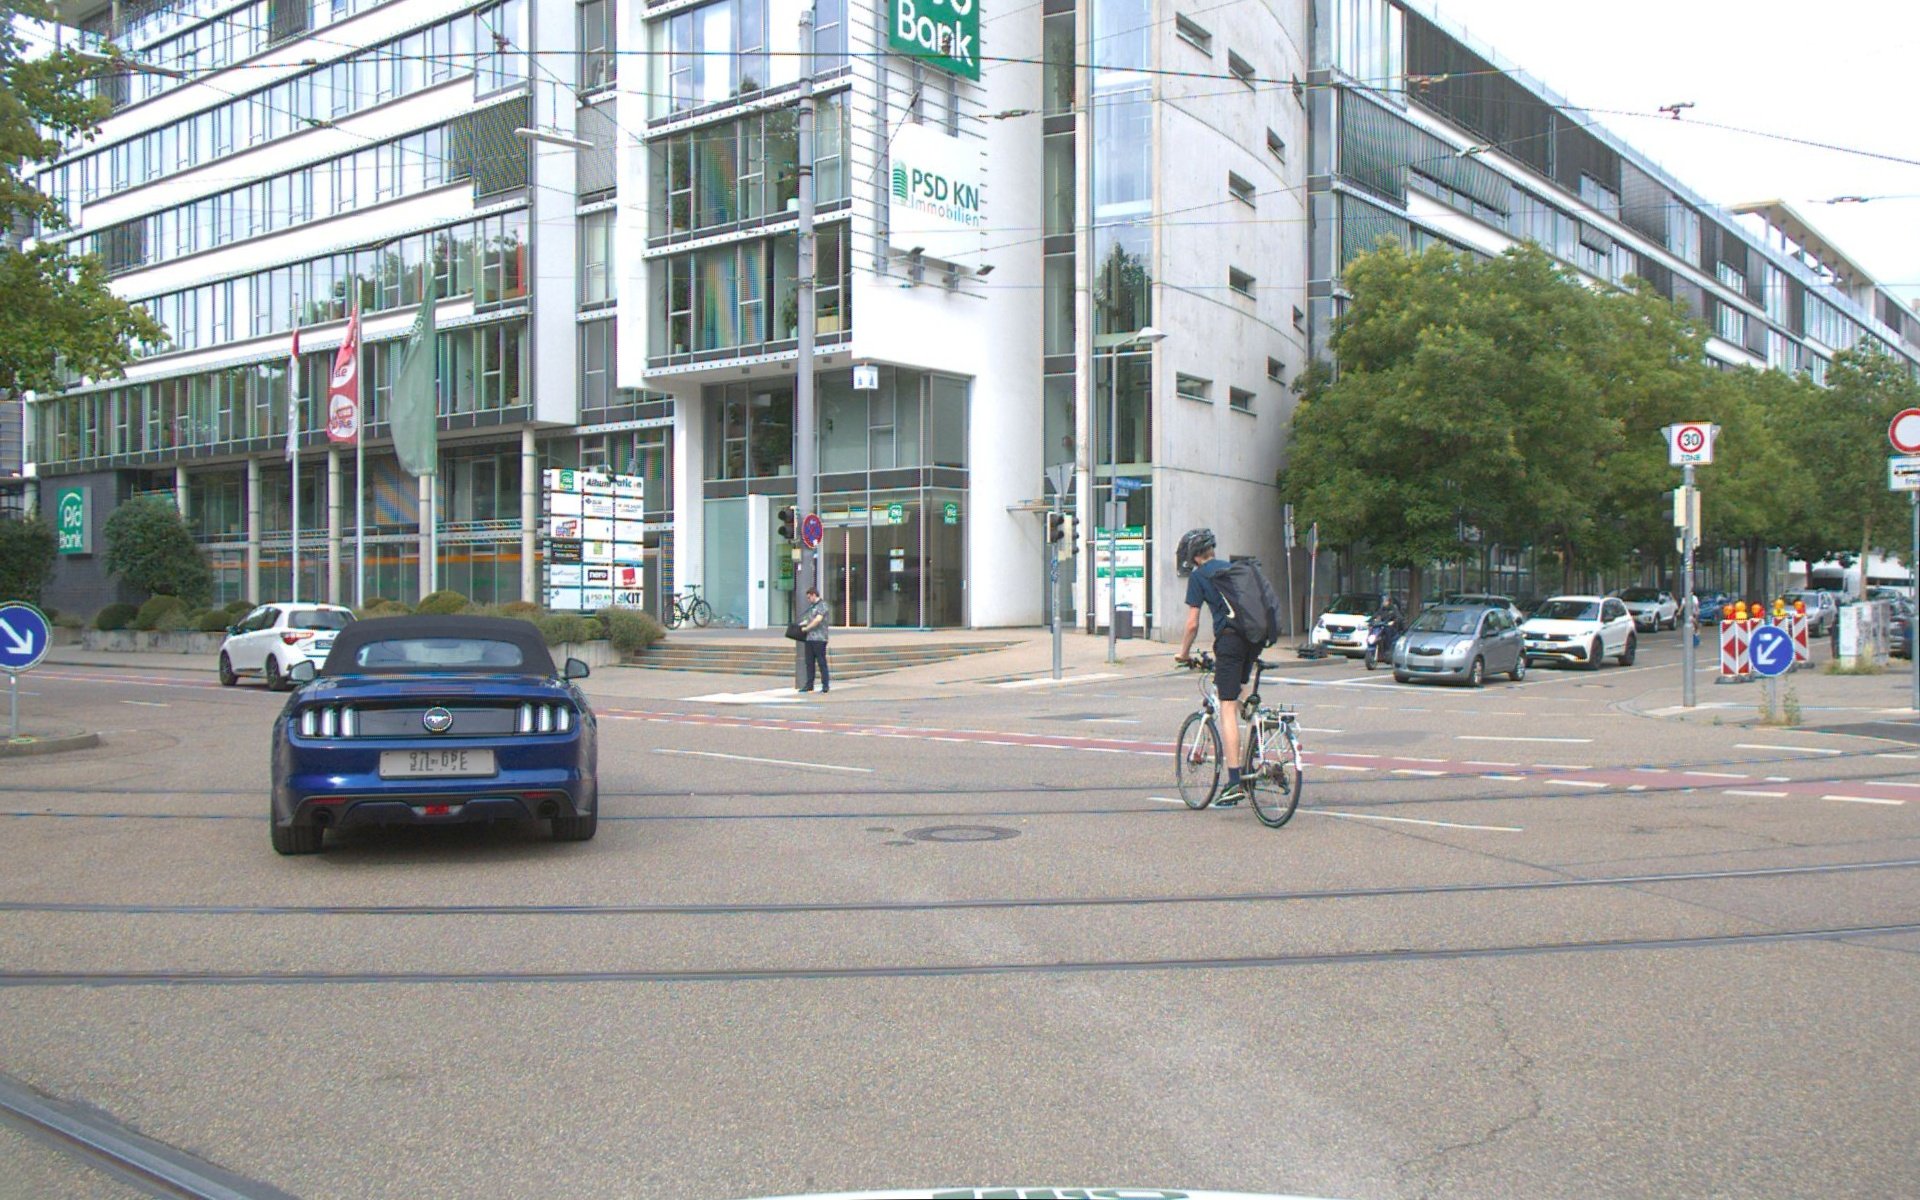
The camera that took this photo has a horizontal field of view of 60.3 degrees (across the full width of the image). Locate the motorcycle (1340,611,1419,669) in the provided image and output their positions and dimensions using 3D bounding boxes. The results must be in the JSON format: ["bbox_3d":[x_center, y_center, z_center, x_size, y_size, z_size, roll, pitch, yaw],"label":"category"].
[{"bbox_3d":[9.435,0.868,37.134,0.812,1.220,2.491,1,1,37],"label":"motorcycle"}]

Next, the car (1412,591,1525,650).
[{"bbox_3d":[14.876,0.557,48.233,1.800,1.583,4.199,2,2,37],"label":"car"}]

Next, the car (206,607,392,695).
[{"bbox_3d":[-12.019,0.877,29.932,1.826,1.464,4.122,-1,0,-42],"label":"car"}]

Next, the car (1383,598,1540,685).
[{"bbox_3d":[10.093,0.777,33.108,1.641,1.533,4.217,2,2,37],"label":"car"}]

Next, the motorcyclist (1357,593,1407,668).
[{"bbox_3d":[9.501,0.664,37.206,0.806,1.645,0.878,1,1,38],"label":"motorcyclist"}]

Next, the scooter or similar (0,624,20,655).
[{"bbox_3d":[-30.870,1.267,53.277,0.585,0.967,1.828,-1,0,-45],"label":"scooter or similar"}]

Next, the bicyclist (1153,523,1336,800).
[{"bbox_3d":[1.966,0.400,11.579,0.783,1.817,1.227,-1,0,-17],"label":"bicyclist"}]

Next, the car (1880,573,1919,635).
[{"bbox_3d":[26.587,0.091,45.766,1.674,1.634,4.067,-1,0,33],"label":"car"}]

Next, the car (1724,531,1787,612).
[{"bbox_3d":[37.414,-1.346,77.746,1.952,3.700,4.497,2,1,35],"label":"car"}]

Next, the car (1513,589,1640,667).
[{"bbox_3d":[14.663,0.605,39.240,1.687,1.689,4.115,2,2,37],"label":"car"}]

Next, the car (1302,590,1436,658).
[{"bbox_3d":[10.539,0.562,42.449,1.800,1.583,4.199,2,2,37],"label":"car"}]

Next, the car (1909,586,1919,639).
[{"bbox_3d":[31.191,0.372,52.279,1.835,1.634,4.200,-1,0,33],"label":"car"}]

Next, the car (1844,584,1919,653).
[{"bbox_3d":[23.334,0.429,41.311,1.846,1.657,4.075,-1,0,33],"label":"car"}]

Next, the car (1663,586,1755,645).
[{"bbox_3d":[23.137,0.450,51.041,1.687,1.689,4.115,2,2,37],"label":"car"}]

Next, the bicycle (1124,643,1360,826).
[{"bbox_3d":[1.933,0.891,11.719,0.787,1.105,2.121,-1,0,-17],"label":"bicycle"}]

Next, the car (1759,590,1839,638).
[{"bbox_3d":[30.353,0.474,59.786,1.872,1.613,4.163,2,2,37],"label":"car"}]

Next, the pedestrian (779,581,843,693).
[{"bbox_3d":[-2.593,0.630,28.731,0.760,1.897,0.823,0,0,-44],"label":"pedestrian"}]

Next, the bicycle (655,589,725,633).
[{"bbox_3d":[-7.445,0.305,45.717,0.574,1.197,2.107,1,0,35],"label":"bicycle"}]

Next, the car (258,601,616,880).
[{"bbox_3d":[-3.379,0.739,11.014,1.845,1.428,4.264,0,0,-16],"label":"car"}]

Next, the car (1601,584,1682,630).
[{"bbox_3d":[25.842,0.232,62.641,1.952,1.583,4.497,2,2,35],"label":"car"}]
